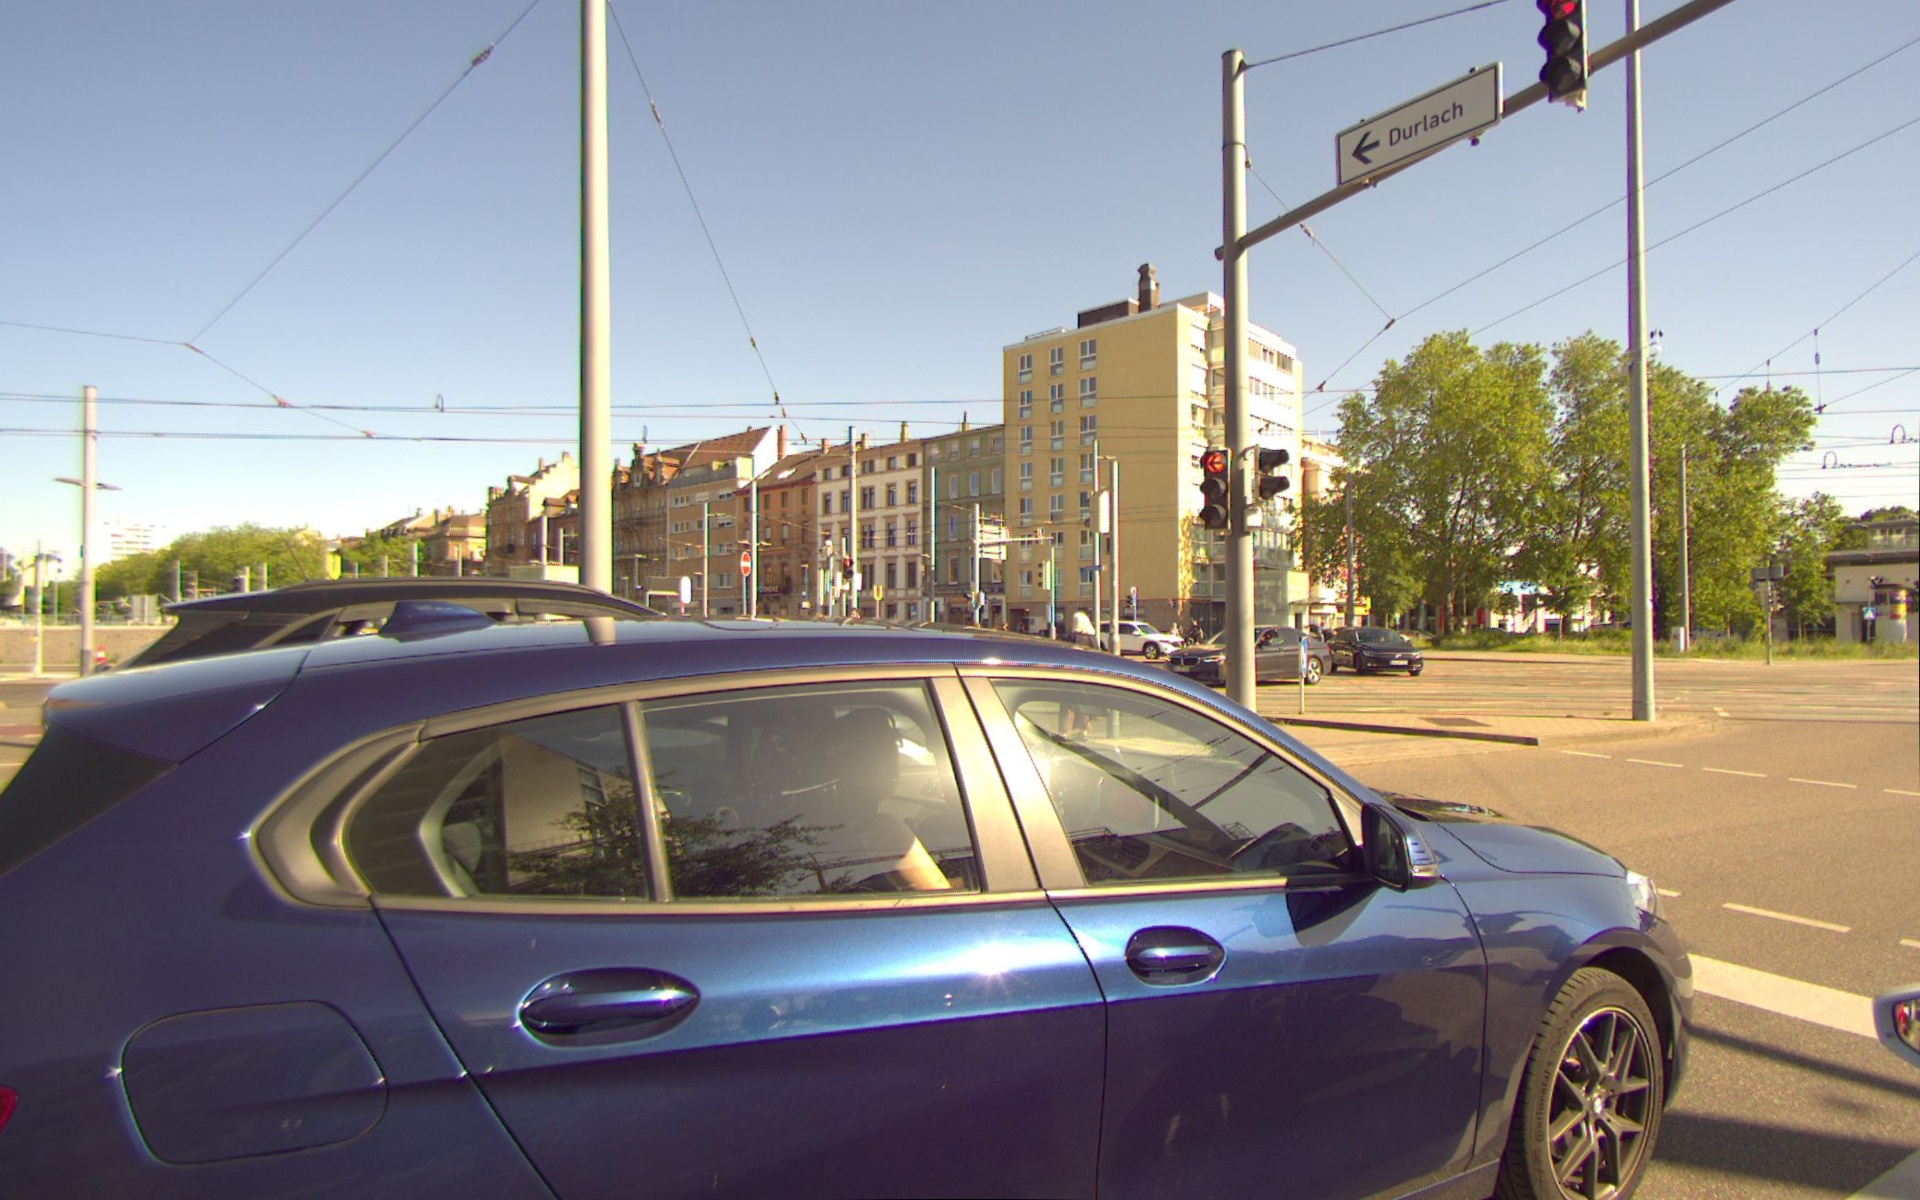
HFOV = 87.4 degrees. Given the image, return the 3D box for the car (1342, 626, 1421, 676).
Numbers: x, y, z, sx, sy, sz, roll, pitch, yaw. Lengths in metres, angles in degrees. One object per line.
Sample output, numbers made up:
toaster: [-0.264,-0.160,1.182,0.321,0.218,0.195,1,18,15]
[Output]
car: [12.960,1.523,31.091,1.693,1.457,4.179,0,-2,15]

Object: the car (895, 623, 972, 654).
car: [-1.527,2.160,56.317,4.246,1.675,1.848,-1,-2,42]

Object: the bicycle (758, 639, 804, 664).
bicycle: [-6.678,1.915,37.469,1.870,0.890,0.675,-1,-2,41]

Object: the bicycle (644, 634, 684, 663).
bicycle: [-11.896,1.930,40.364,1.871,1.120,0.675,-1,-2,42]

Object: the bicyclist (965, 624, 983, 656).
bicyclist: [0.636,1.842,46.287,0.609,1.462,0.614,1,-1,-30]

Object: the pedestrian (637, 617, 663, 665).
pedestrian: [-11.378,1.484,36.847,0.672,1.735,0.793,1,-1,-38]

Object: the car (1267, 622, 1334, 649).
car: [21.618,2.250,63.863,3.691,1.684,1.586,-1,-2,42]

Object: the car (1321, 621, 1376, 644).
car: [29.907,2.495,77.373,3.691,1.684,1.586,-1,-2,42]

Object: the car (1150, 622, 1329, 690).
car: [6.880,1.302,24.574,4.524,1.521,1.846,1,-2,-36]

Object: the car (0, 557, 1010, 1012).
car: [-1.890,0.660,5.115,3.959,1.537,1.751,1,-1,-28]

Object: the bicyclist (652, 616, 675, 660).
bicyclist: [-11.907,1.513,40.381,0.609,1.735,0.675,-1,-2,41]

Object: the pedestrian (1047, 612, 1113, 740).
pedestrian: [1.500,0.944,12.612,0.748,1.575,0.356,0,-1,-16]

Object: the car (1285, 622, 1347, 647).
car: [24.438,2.335,69.057,3.691,1.684,1.586,-1,-2,42]

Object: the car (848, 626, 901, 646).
car: [-6.293,2.650,74.487,1.749,1.446,3.863,-1,-2,39]

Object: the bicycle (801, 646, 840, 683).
bicycle: [-3.625,1.658,26.047,0.668,0.890,1.891,0,-2,-18]

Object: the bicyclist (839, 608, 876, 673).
bicyclist: [-2.707,1.063,26.525,0.672,1.676,0.777,1,-1,-35]

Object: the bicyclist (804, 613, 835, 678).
bicyclist: [-3.670,1.173,26.236,0.668,1.676,0.782,0,-1,-19]

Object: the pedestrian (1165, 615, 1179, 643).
pedestrian: [12.244,1.657,57.995,0.702,1.581,0.557,-1,-1,24]

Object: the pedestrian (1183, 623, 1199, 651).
pedestrian: [13.174,2.130,57.357,0.754,1.581,0.614,-1,-1,31]

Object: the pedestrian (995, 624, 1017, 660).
pedestrian: [2.064,1.899,45.248,0.669,1.593,0.740,1,-2,-45]

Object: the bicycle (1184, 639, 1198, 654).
bicycle: [13.179,2.640,57.239,0.451,0.790,1.808,-1,-2,23]

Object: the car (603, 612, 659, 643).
car: [-29.623,2.470,90.231,5.838,2.780,2.133,-1,-2,42]

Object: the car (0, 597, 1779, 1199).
car: [0.135,0.771,2.546,3.984,1.464,1.703,1,0,-30]

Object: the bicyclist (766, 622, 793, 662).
bicyclist: [-6.741,1.575,37.526,0.773,1.474,0.675,-1,-2,40]

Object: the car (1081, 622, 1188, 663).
car: [7.580,1.825,43.840,4.245,1.675,1.849,-1,-2,41]

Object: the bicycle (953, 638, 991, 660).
bicycle: [0.548,2.248,46.220,1.666,0.958,0.614,1,-1,-30]

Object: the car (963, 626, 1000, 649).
car: [1.375,2.490,66.999,1.745,1.446,3.873,0,-2,-10]

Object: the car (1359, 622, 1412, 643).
car: [34.892,2.630,82.408,3.691,1.684,1.586,-1,-2,42]

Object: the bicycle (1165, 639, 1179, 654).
bicycle: [12.216,2.663,57.948,0.478,0.822,1.612,-1,-2,23]

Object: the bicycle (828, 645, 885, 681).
bicycle: [-2.751,1.654,26.611,0.672,0.890,1.880,1,-2,-35]

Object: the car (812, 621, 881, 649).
car: [-7.015,2.139,62.039,4.244,1.675,1.849,-1,-2,40]
